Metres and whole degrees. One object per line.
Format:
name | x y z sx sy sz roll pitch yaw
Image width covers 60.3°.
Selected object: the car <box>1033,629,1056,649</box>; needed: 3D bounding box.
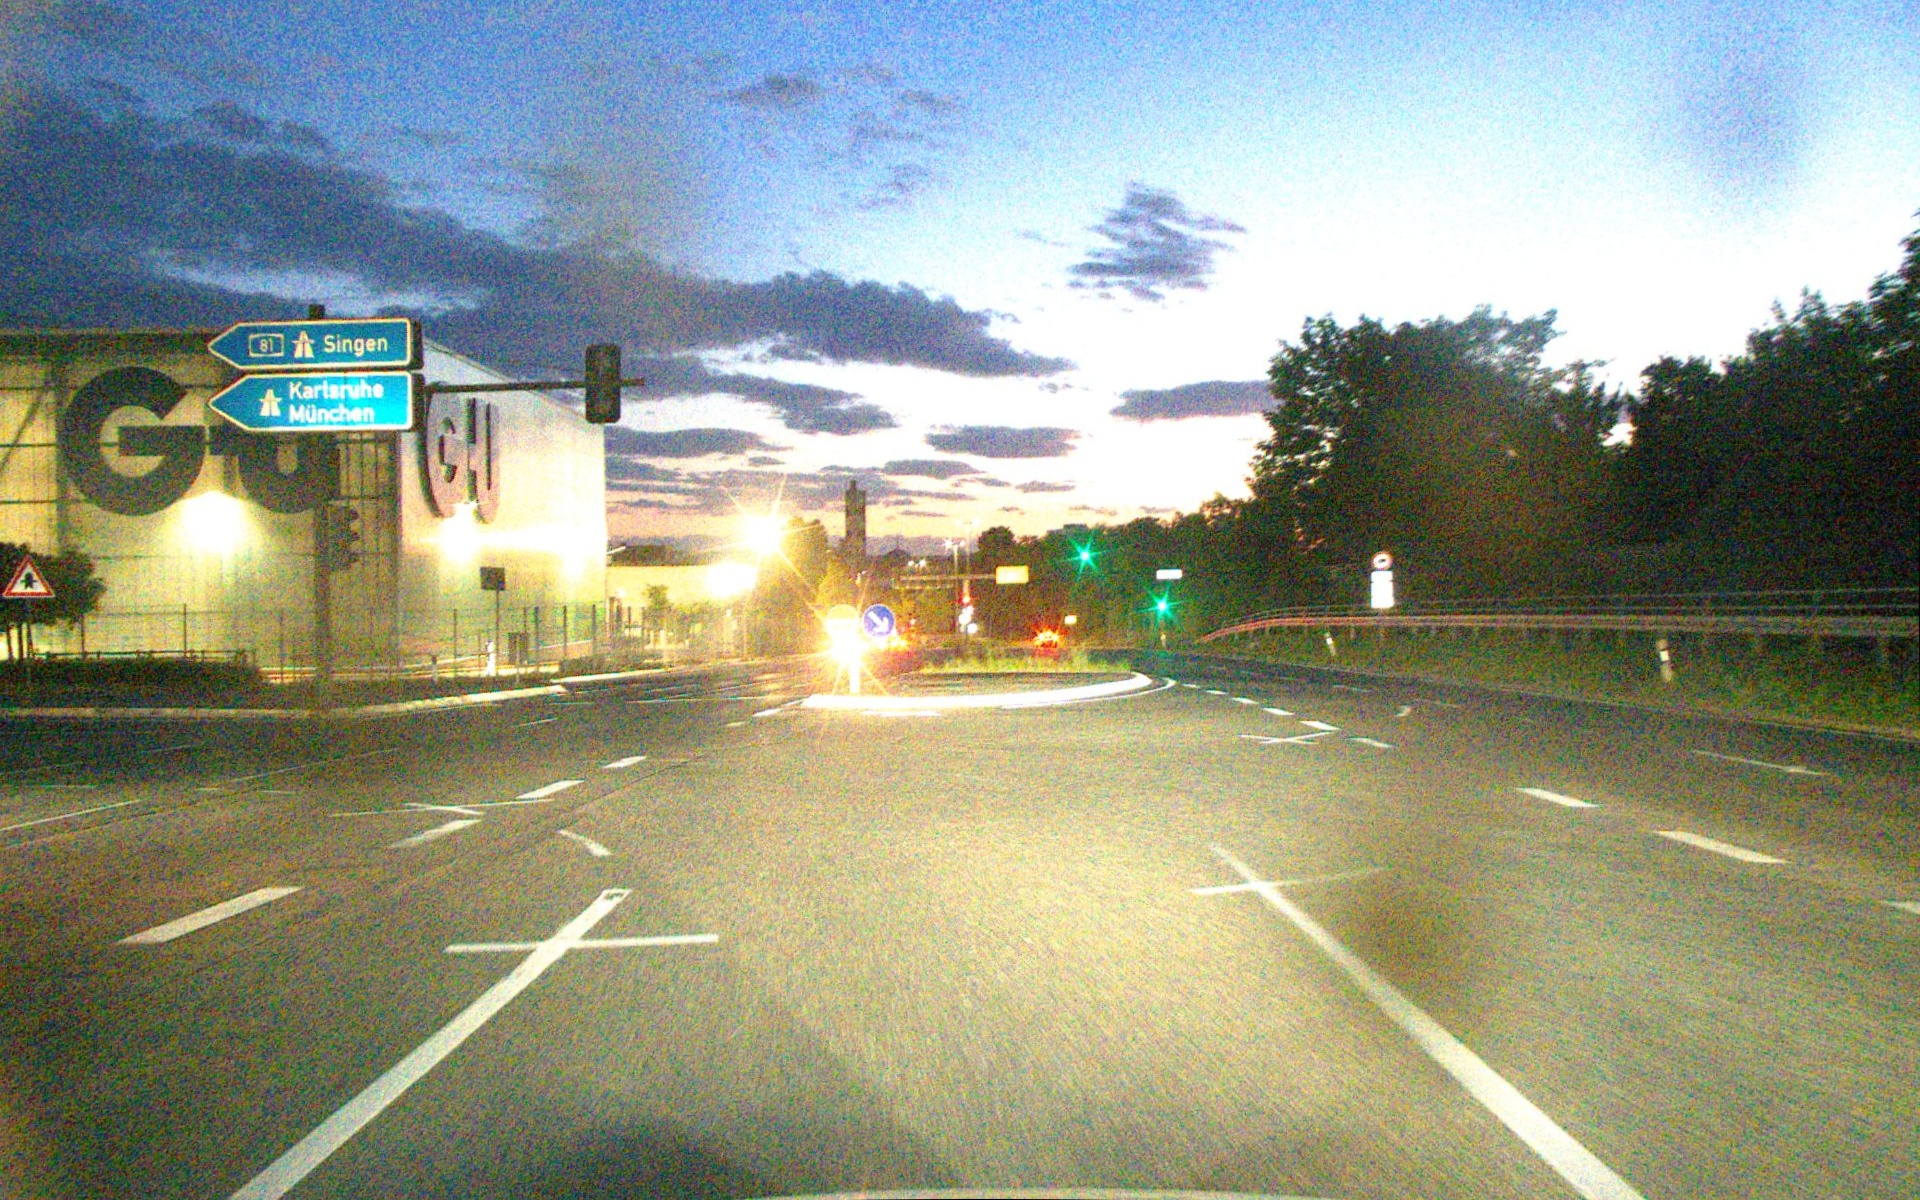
car | 7.886 3.636 154.623 1.896 1.675 3.999 -1 0 -1
